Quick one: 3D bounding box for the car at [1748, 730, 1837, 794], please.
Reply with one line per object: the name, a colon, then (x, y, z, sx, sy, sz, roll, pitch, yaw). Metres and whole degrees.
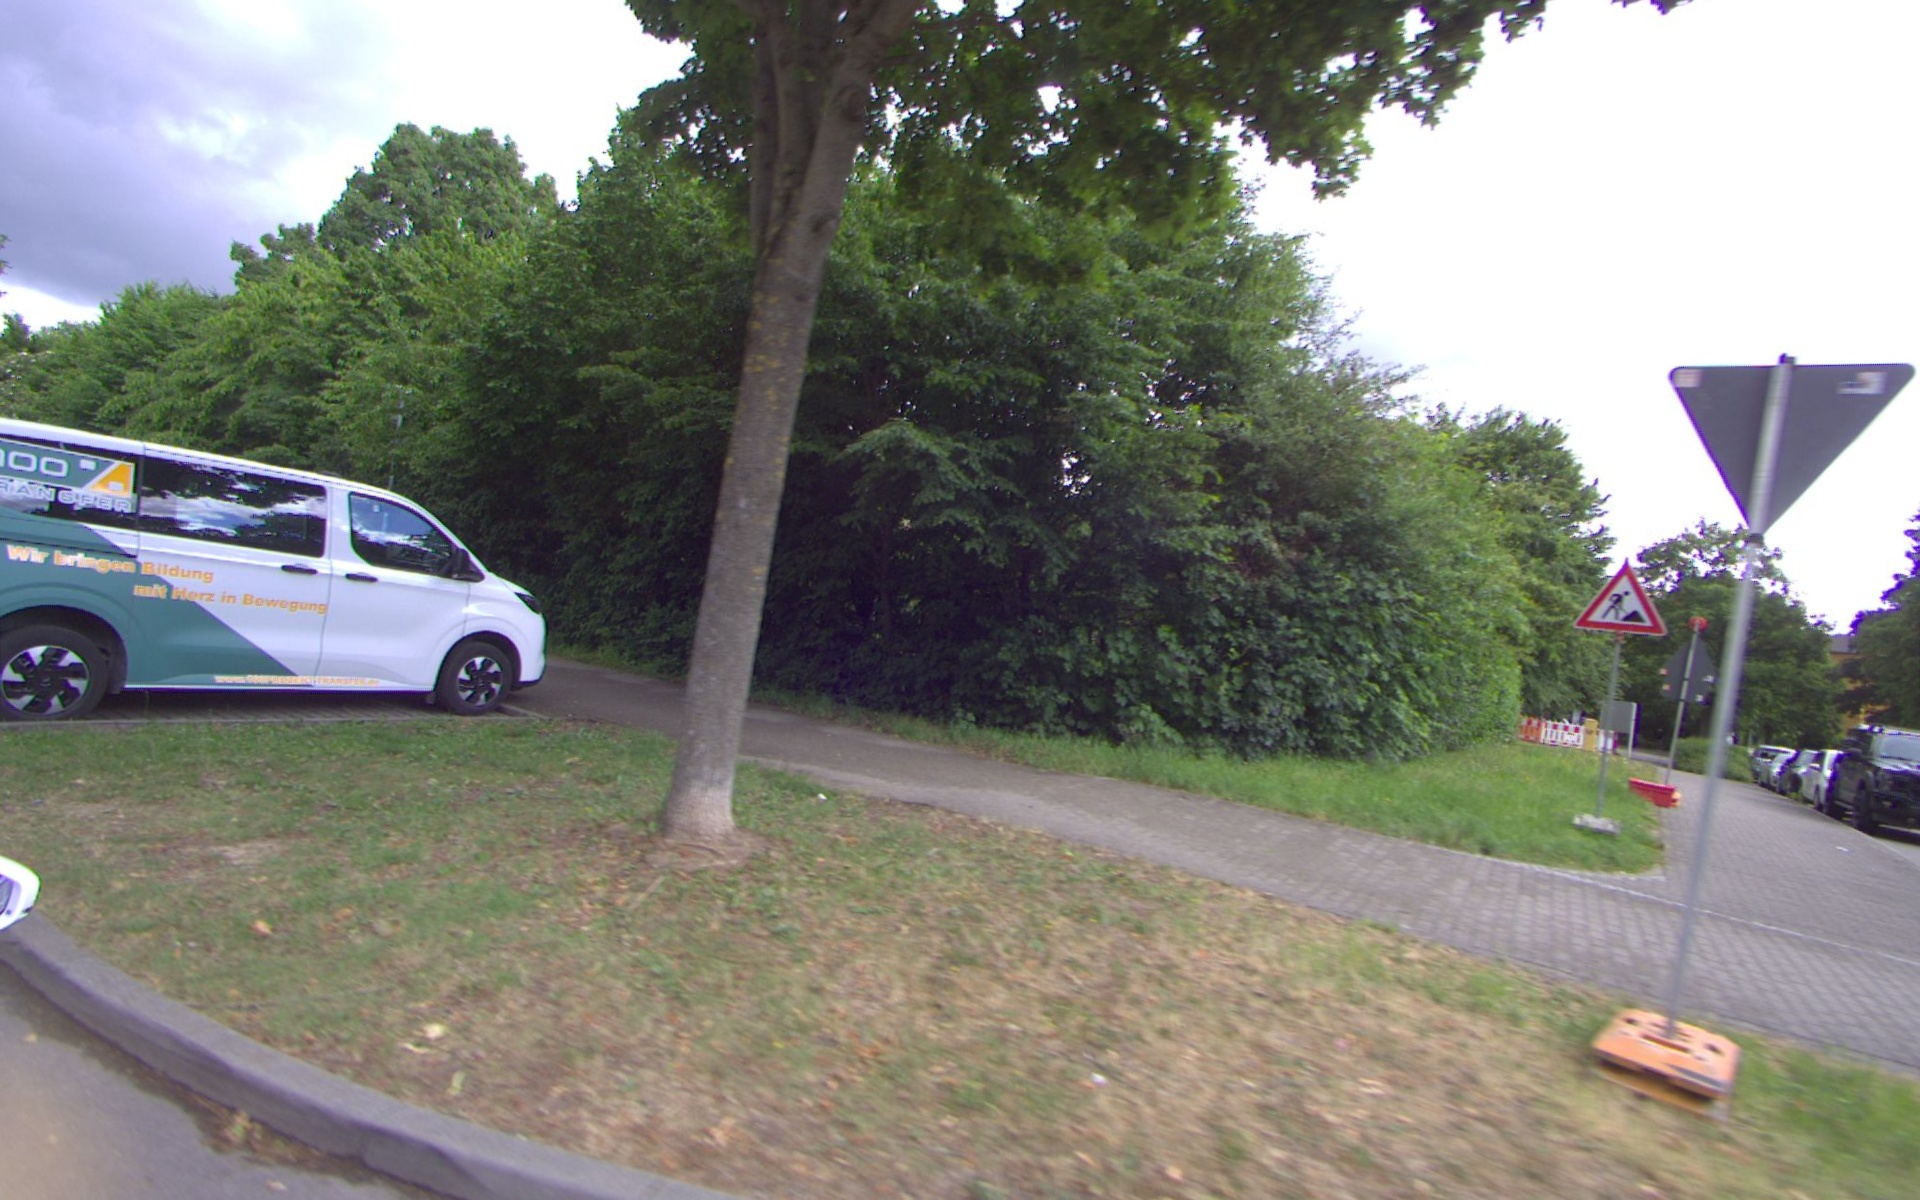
car: (33.857, 6.527, 41.055, 2.104, 2.080, 5.325, 7, -2, 35)

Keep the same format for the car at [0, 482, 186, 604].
car: (-14.084, -0.961, 14.018, 2.076, 1.517, 4.732, 8, 0, 30)

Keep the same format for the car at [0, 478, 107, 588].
car: (-16.211, -1.260, 15.407, 1.885, 1.596, 4.382, 8, 0, 33)

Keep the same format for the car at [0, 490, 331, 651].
car: (-9.881, -0.390, 10.893, 2.024, 1.451, 4.726, 8, 0, 34)

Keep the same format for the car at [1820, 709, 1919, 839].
car: (17.977, 3.288, 18.807, 2.104, 2.080, 5.325, 7, -2, 35)

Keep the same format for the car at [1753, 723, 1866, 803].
car: (28.006, 5.313, 33.349, 2.104, 2.080, 5.325, 7, -2, 35)

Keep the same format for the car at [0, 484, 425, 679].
car: (-7.932, -0.169, 9.493, 1.817, 1.535, 4.707, 8, 0, 33)

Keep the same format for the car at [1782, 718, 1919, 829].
car: (21.473, 4.064, 24.068, 2.104, 2.080, 5.325, 7, -2, 35)

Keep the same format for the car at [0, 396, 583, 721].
car: (-5.818, -0.225, 8.190, 1.815, 1.996, 4.980, 8, 0, 29)

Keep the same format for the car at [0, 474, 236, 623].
car: (-11.974, -0.746, 12.732, 1.861, 1.629, 4.068, 8, 0, 33)

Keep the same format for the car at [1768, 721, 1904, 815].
car: (24.782, 4.670, 28.684, 2.104, 2.080, 5.325, 7, -2, 35)

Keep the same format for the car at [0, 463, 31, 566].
car: (-20.019, -1.876, 18.144, 1.885, 1.928, 4.382, 8, 0, 33)
